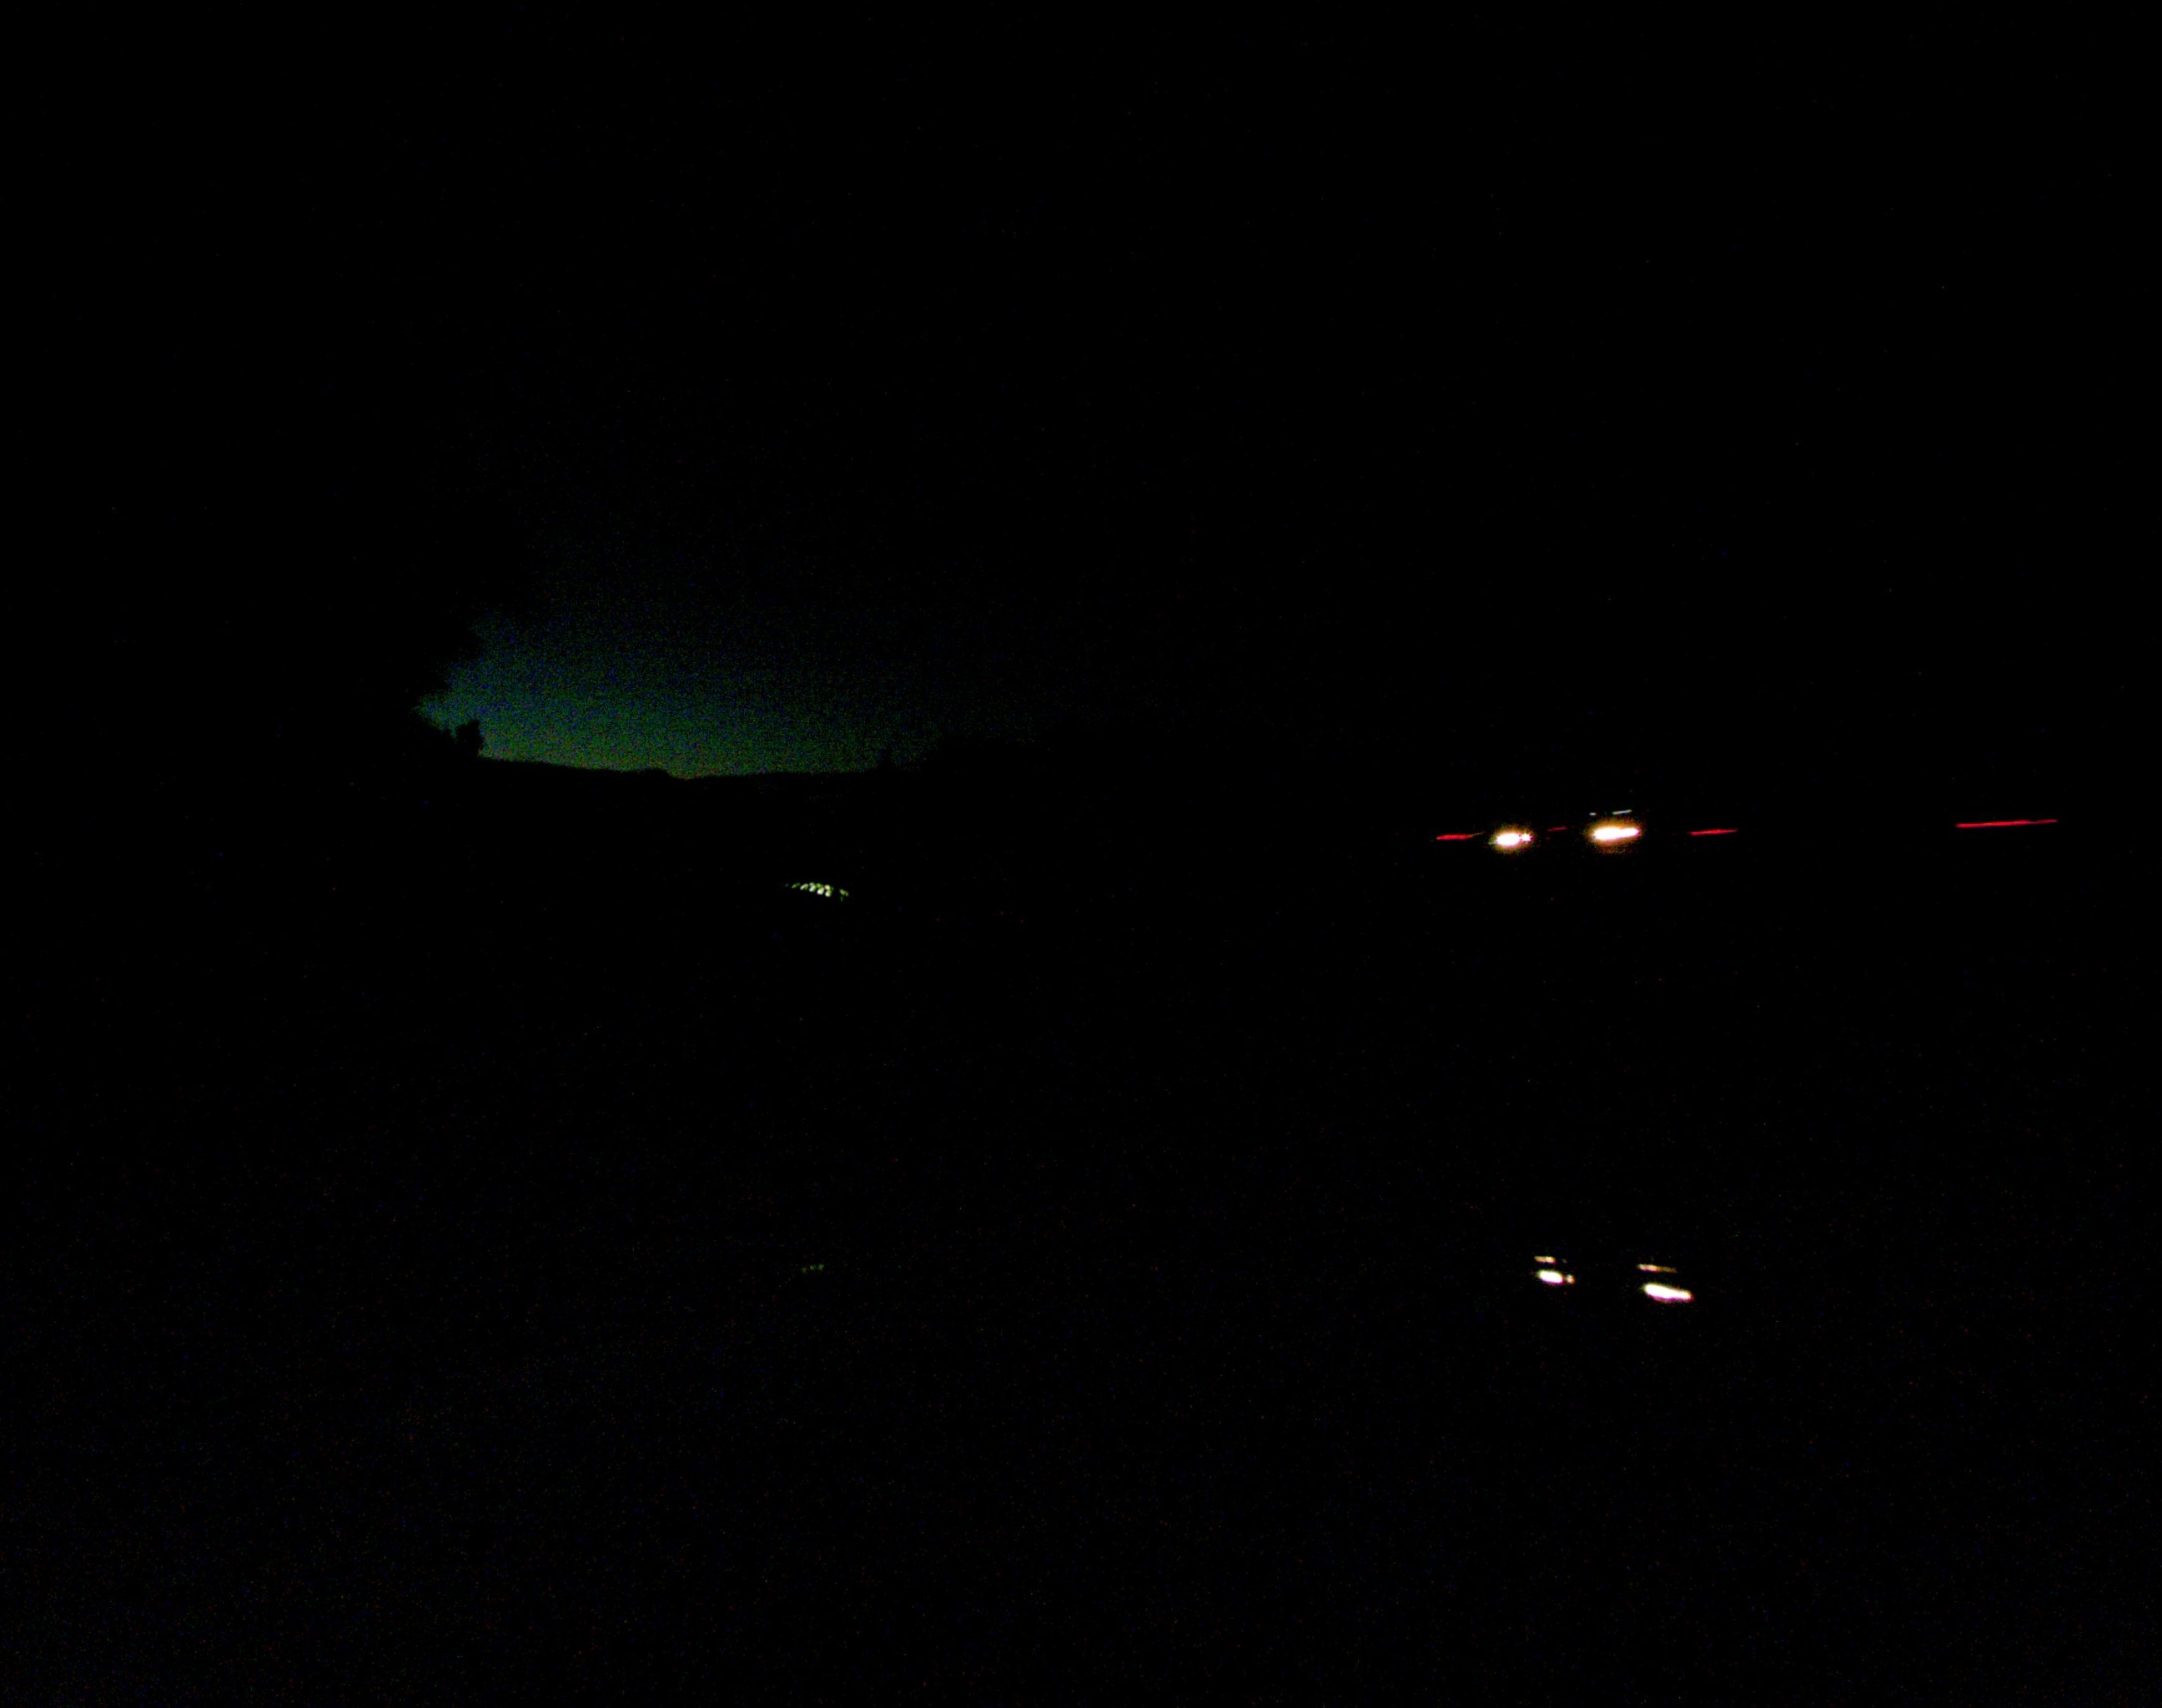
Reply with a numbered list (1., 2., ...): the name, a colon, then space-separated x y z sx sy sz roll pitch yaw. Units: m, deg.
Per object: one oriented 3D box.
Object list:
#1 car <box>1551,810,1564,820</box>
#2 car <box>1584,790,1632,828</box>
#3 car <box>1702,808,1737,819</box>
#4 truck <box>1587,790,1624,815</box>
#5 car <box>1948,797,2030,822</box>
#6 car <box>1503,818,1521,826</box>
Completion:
1. car: 109.903 -9.027 175.236 1.995 2.188 4.005 -2 2 23
2. car: 51.840 -4.392 74.897 2.547 3.403 7.793 -2 1 25
3. car: 68.849 -4.370 81.989 1.561 1.053 4.004 -3 2 19
4. truck: 105.483 -10.277 153.097 3.217 4.426 12.775 -2 2 22
5. car: 52.227 -2.539 43.798 1.625 1.270 3.720 -2 1 25
6. car: 65.418 -4.898 115.428 1.678 1.128 4.004 -3 1 19
